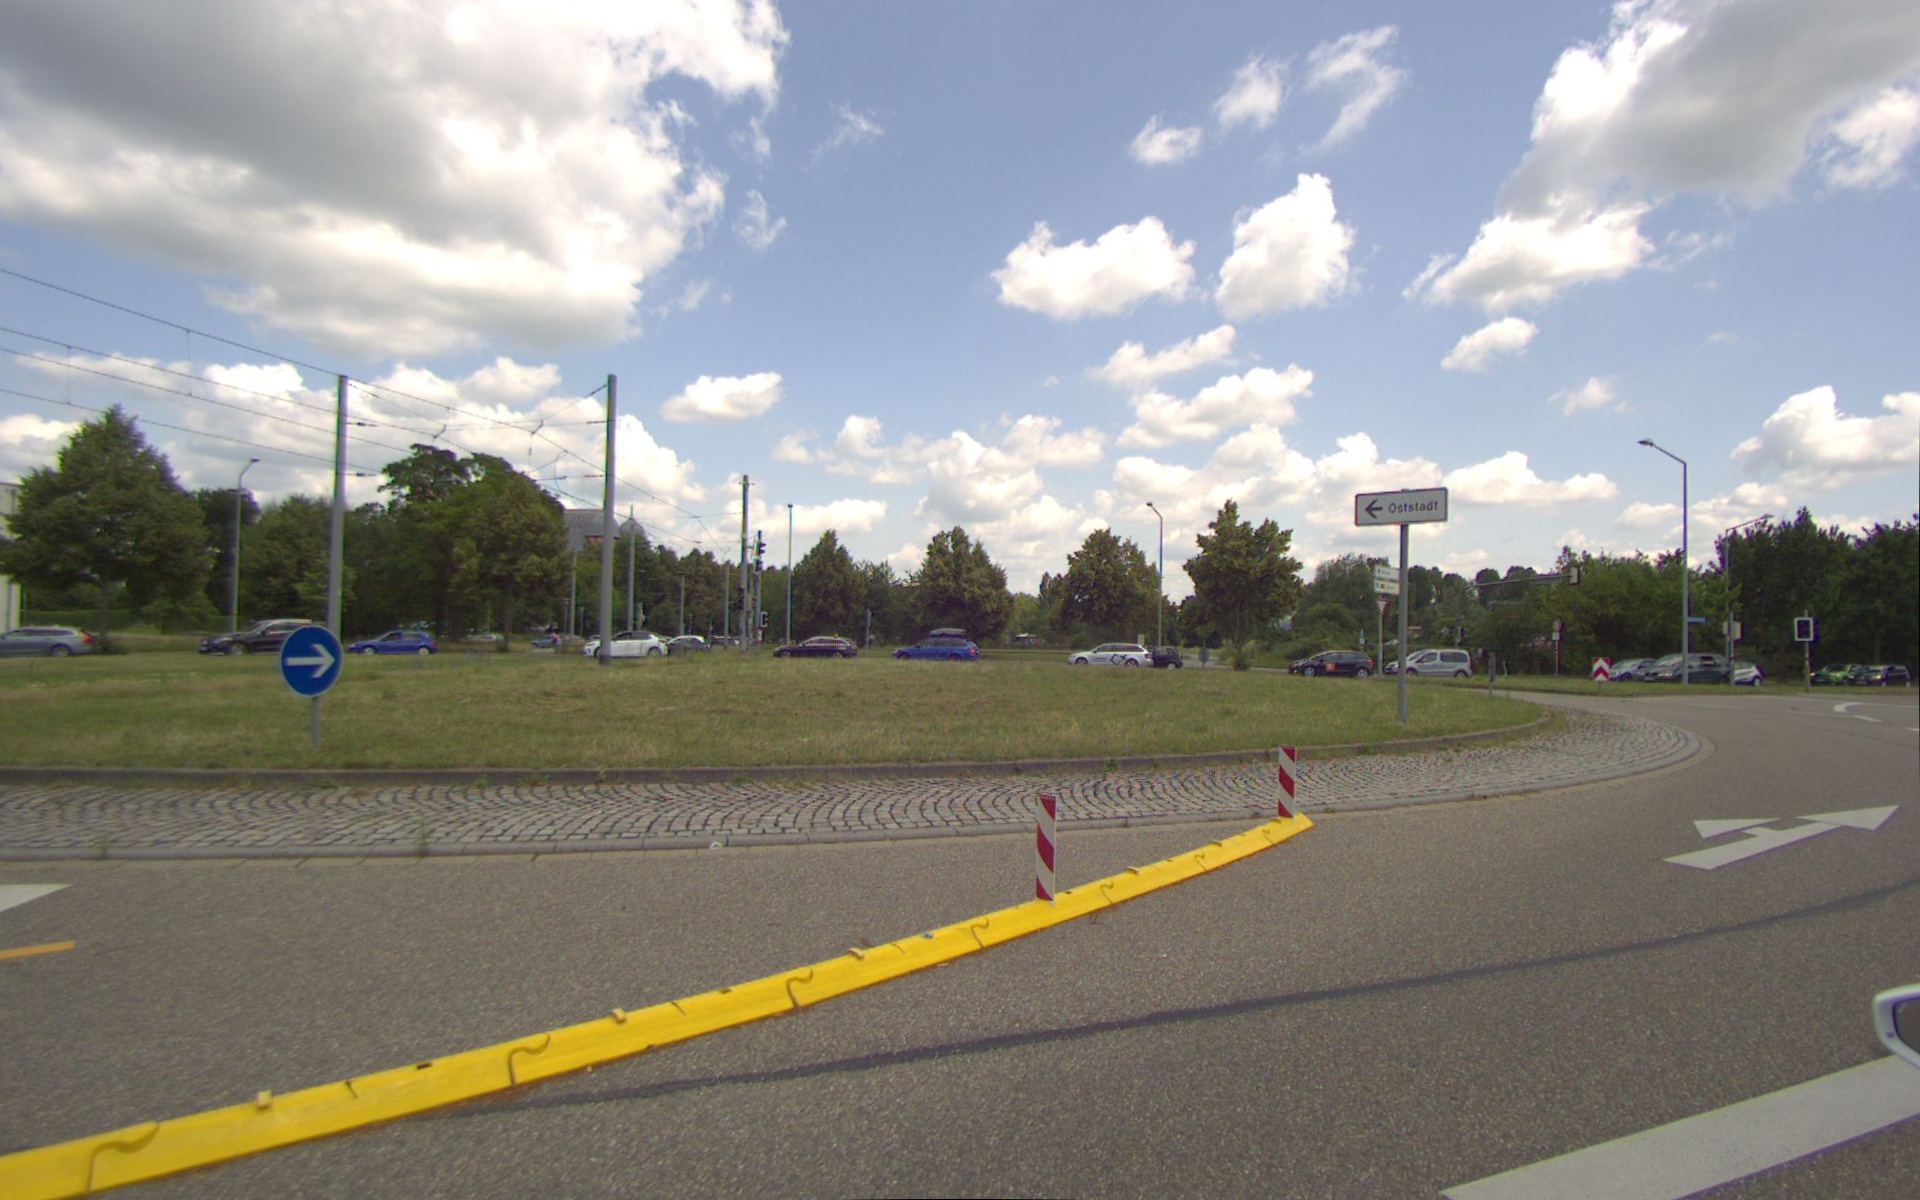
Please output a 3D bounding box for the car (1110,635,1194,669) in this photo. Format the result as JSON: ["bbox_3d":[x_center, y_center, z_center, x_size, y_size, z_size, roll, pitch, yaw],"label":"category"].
[{"bbox_3d":[10.924,2.929,57.228,4.567,1.845,2.127,1,-2,10],"label":"car"}]

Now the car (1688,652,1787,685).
[{"bbox_3d":[43.825,3.838,56.635,4.707,1.708,1.995,2,-2,-15],"label":"car"}]

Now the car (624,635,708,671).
[{"bbox_3d":[-17.361,3.136,59.474,4.646,2.040,1.994,1,-2,-15],"label":"car"}]

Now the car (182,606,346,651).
[{"bbox_3d":[-27.836,1.171,40.317,1.969,1.697,5.051,0,-2,38],"label":"car"}]

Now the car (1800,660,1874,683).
[{"bbox_3d":[54.137,4.408,62.006,4.107,1.365,1.614,2,-4,-20],"label":"car"}]

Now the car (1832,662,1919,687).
[{"bbox_3d":[53.519,4.348,58.553,4.712,1.327,1.837,2,-4,-18],"label":"car"}]

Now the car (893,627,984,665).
[{"bbox_3d":[-1.073,2.351,51.431,4.318,1.822,1.757,1,-2,13],"label":"car"}]

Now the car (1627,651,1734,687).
[{"bbox_3d":[34.843,3.319,48.609,4.519,1.613,1.907,2,-2,-17],"label":"car"}]

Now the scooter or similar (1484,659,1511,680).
[{"bbox_3d":[31.304,4.076,58.548,1.417,1.181,0.540,2,-1,-17],"label":"scooter or similar"}]

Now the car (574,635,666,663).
[{"bbox_3d":[-16.954,2.454,50.277,4.243,1.347,1.992,2,-2,-18],"label":"car"}]

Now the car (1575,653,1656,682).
[{"bbox_3d":[34.300,3.525,52.560,4.141,1.442,1.897,2,-2,-29],"label":"car"}]

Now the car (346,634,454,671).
[{"bbox_3d":[-29.219,2.739,52.493,4.687,1.814,1.827,2,-2,-40],"label":"car"}]

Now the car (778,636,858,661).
[{"bbox_3d":[-8.073,2.768,57.473,4.405,1.340,1.953,1,-2,-4],"label":"car"}]

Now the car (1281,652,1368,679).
[{"bbox_3d":[18.610,3.357,51.437,3.898,1.358,1.805,0,-3,9],"label":"car"}]

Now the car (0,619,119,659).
[{"bbox_3d":[-40.588,1.739,44.417,4.884,1.648,2.050,2,0,-29],"label":"car"}]

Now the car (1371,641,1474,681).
[{"bbox_3d":[25.134,3.309,54.706,4.693,2.040,2.000,1,-2,0],"label":"car"}]

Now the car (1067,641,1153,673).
[{"bbox_3d":[8.038,3.017,53.653,4.416,1.541,2.125,1,-2,13],"label":"car"}]
